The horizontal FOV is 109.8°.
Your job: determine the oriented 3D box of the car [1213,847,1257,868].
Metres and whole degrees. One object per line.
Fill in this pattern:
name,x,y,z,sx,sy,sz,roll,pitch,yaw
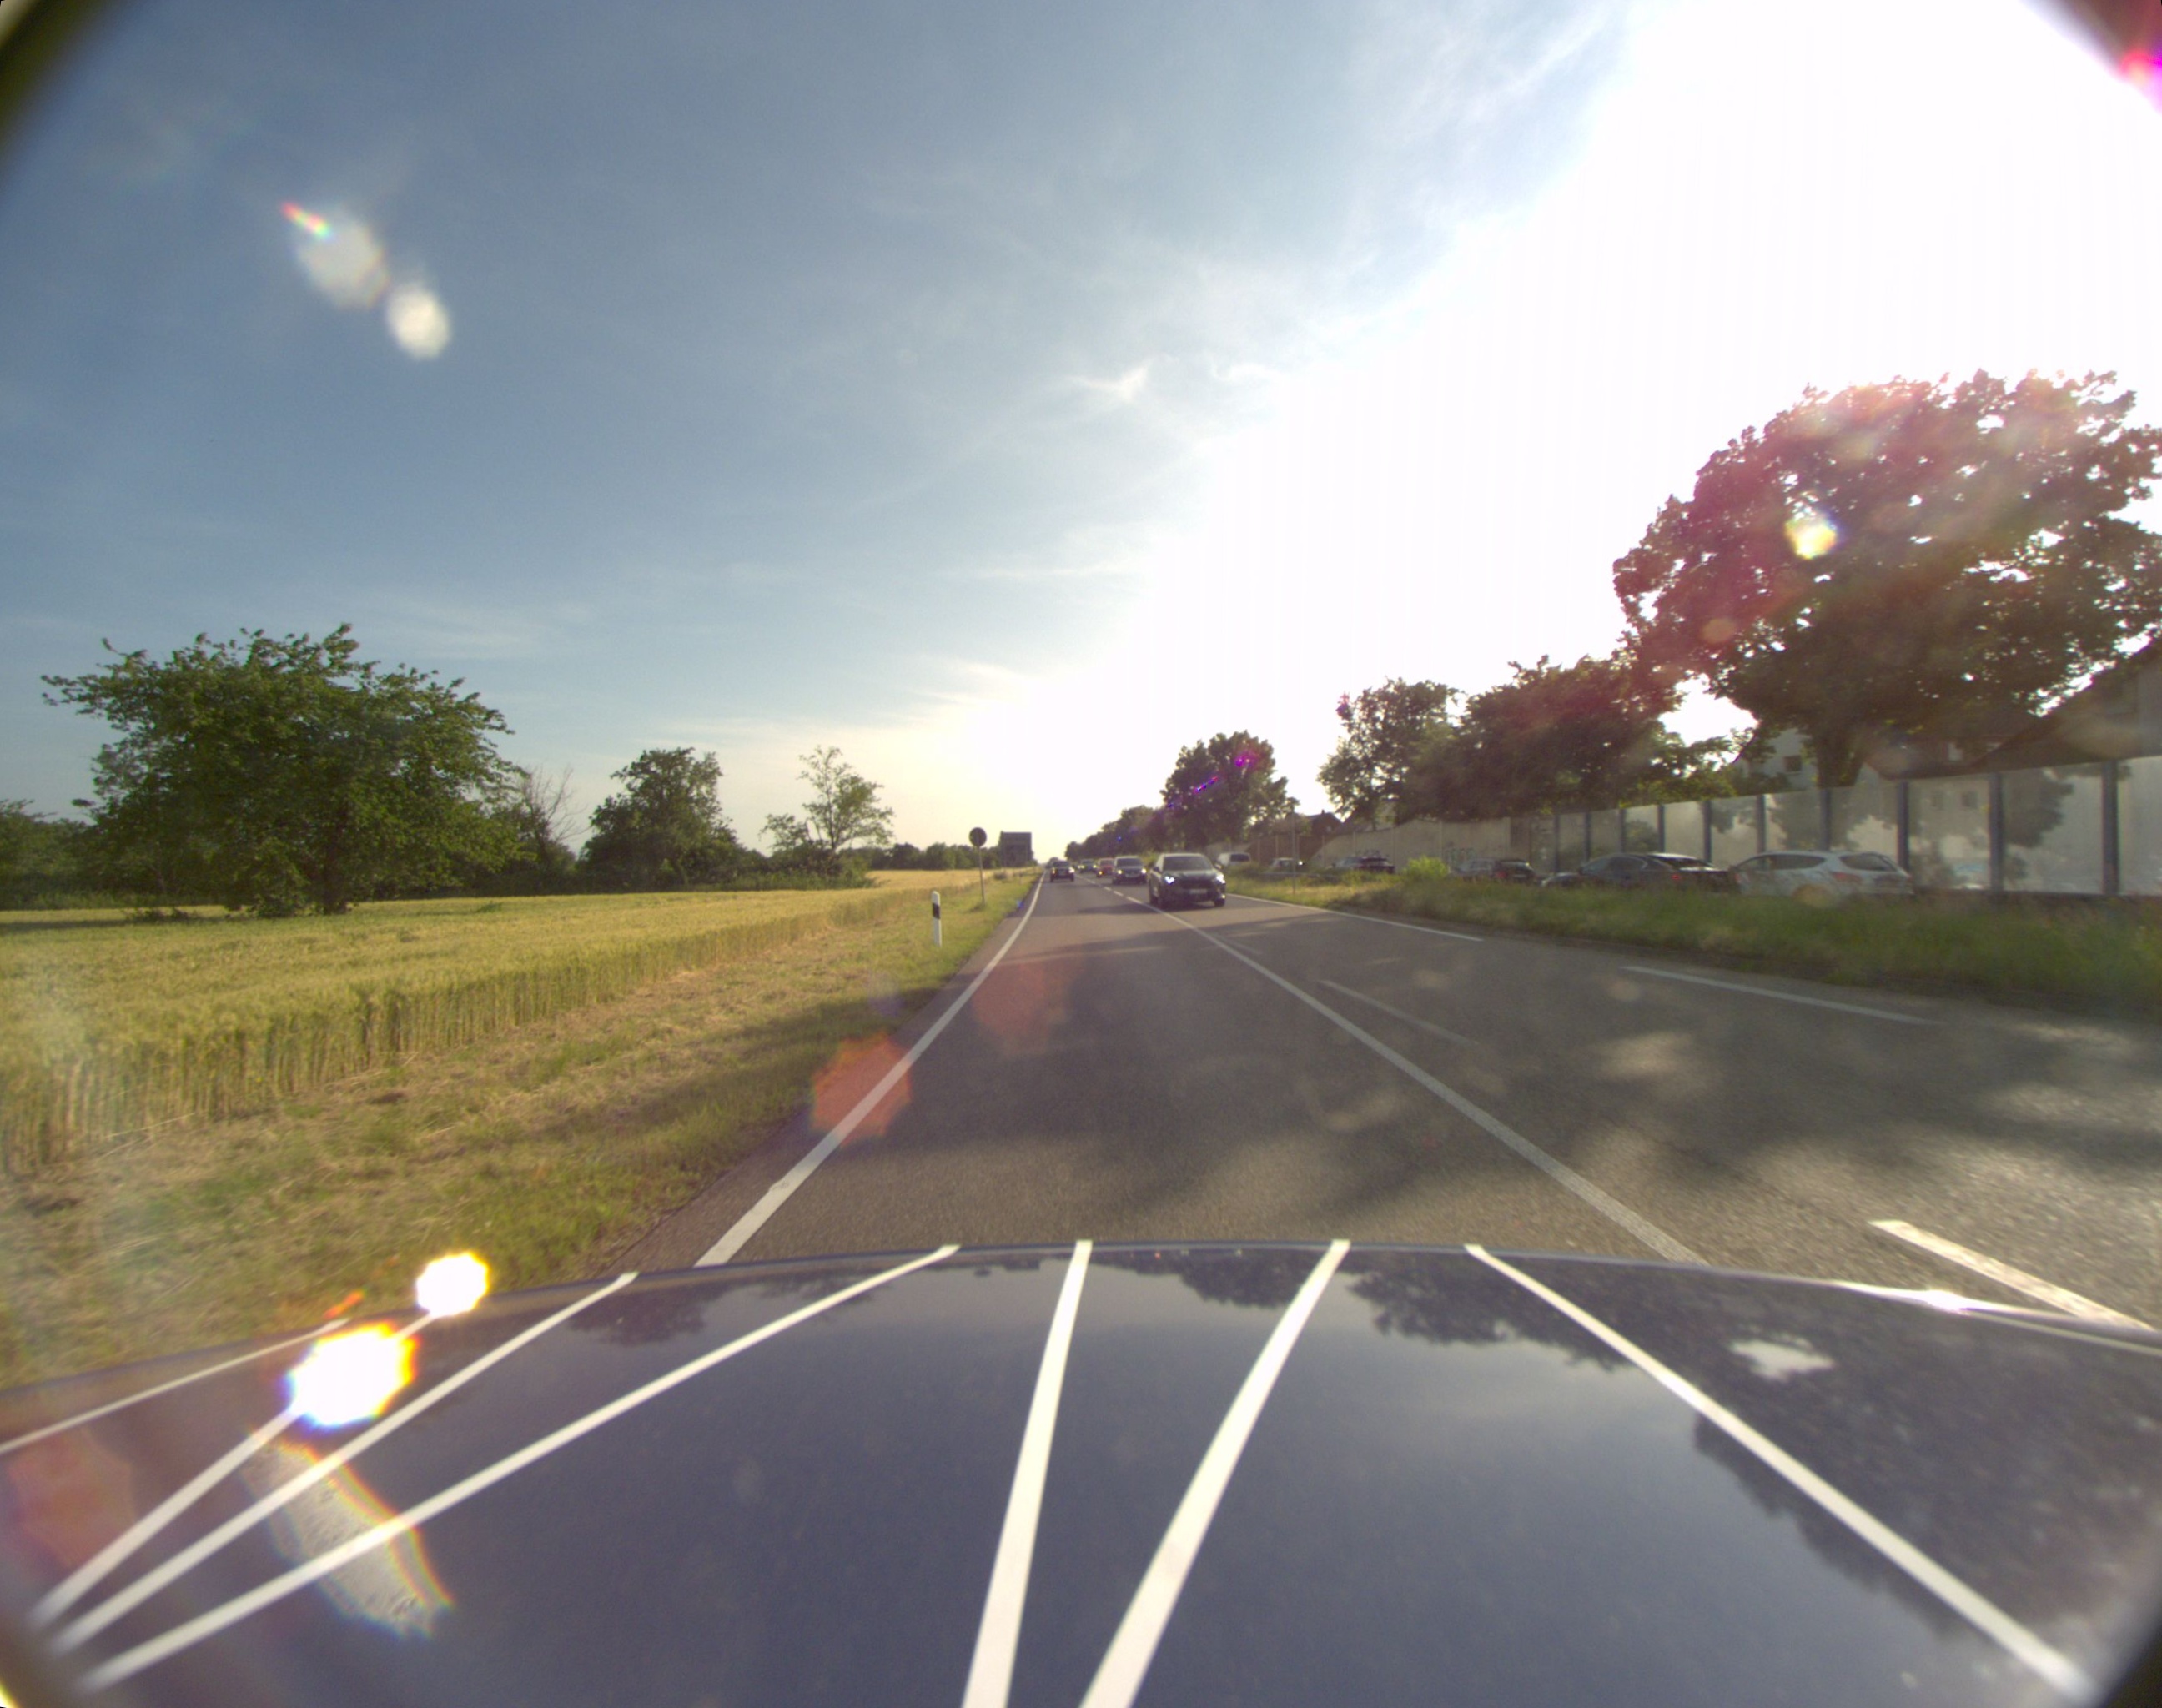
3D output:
car,11.652,0.262,57.955,1.987,1.475,5.058,-3,0,-3

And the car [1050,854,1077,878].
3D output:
car,-1.359,0.864,56.358,1.823,1.661,3.999,-3,0,-3

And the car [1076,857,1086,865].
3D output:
car,-0.034,1.340,148.840,1.693,1.397,3.999,-3,0,-3

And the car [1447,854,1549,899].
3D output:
car,16.639,0.846,30.582,1.739,1.608,3.999,-3,0,-2

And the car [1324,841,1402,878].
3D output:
car,12.383,0.242,33.670,1.519,1.456,4.657,-3,0,-3

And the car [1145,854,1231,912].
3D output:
car,3.169,0.811,23.294,1.822,1.516,4.245,-3,0,-2

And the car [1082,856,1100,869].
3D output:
car,1.219,1.059,93.562,1.810,1.499,3.999,-3,0,-3

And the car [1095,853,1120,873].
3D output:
car,2.223,0.748,65.196,1.823,1.661,3.999,-3,0,-2

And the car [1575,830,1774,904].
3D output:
car,13.296,0.264,17.316,1.653,1.433,3.567,-3,0,-2

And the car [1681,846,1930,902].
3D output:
car,17.002,0.421,18.211,1.673,1.099,4.411,-3,0,-1

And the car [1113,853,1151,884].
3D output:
car,3.022,0.822,45.660,1.823,1.724,3.999,-3,0,-2

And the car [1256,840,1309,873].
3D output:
car,12.225,0.154,46.345,1.768,1.821,4.367,-3,0,-3
